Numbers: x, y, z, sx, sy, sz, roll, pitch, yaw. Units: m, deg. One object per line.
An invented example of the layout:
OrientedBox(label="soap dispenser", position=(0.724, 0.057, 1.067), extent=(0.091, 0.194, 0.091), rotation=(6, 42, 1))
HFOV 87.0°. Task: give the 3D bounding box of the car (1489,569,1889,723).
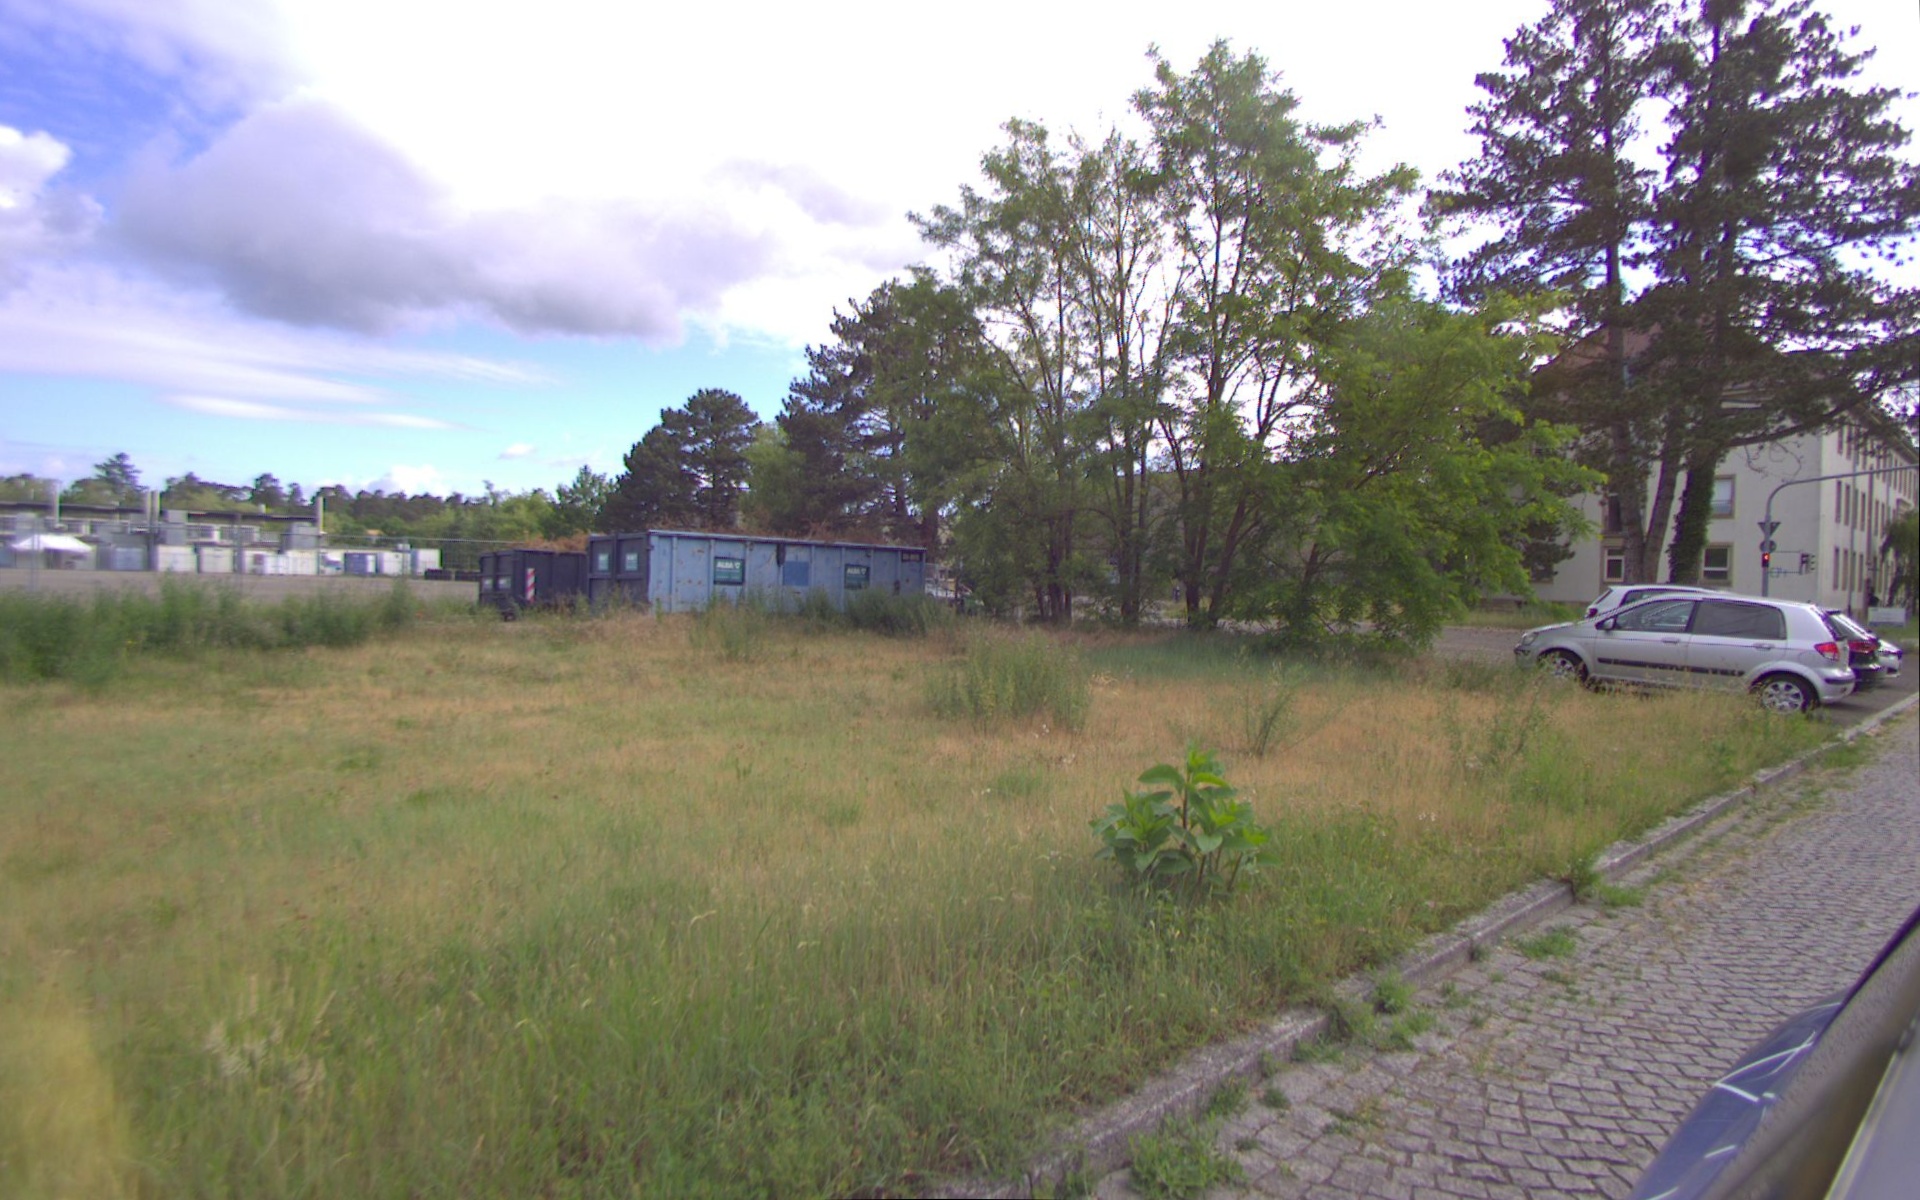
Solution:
OrientedBox(label="car", position=(9.736, 0.485, 13.771), extent=(1.774, 1.533, 4.081), rotation=(0, 4, -43))

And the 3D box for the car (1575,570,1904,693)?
OrientedBox(label="car", position=(13.443, 0.436, 17.641), extent=(1.854, 1.615, 4.245), rotation=(0, 5, -44))

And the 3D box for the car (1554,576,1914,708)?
OrientedBox(label="car", position=(11.727, 0.526, 15.537), extent=(1.853, 1.470, 4.081), rotation=(0, 4, -43))

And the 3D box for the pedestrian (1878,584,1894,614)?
OrientedBox(label="pedestrian", position=(54.678, -0.058, 59.741), extent=(0.522, 1.722, 0.569), rotation=(1, 1, -37))

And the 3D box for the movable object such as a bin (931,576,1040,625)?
OrientedBox(label="movable object such as a bin", position=(0.540, -0.016, 23.042), extent=(0.839, 1.000, 2.685), rotation=(1, 2, -43))

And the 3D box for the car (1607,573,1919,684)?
OrientedBox(label="car", position=(15.275, 0.441, 19.357), extent=(1.873, 1.584, 4.501), rotation=(0, 4, -43))

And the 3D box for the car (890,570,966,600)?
OrientedBox(label="car", position=(-1.745, -0.798, 54.224), extent=(1.940, 1.501, 3.991), rotation=(0, 2, -43))
